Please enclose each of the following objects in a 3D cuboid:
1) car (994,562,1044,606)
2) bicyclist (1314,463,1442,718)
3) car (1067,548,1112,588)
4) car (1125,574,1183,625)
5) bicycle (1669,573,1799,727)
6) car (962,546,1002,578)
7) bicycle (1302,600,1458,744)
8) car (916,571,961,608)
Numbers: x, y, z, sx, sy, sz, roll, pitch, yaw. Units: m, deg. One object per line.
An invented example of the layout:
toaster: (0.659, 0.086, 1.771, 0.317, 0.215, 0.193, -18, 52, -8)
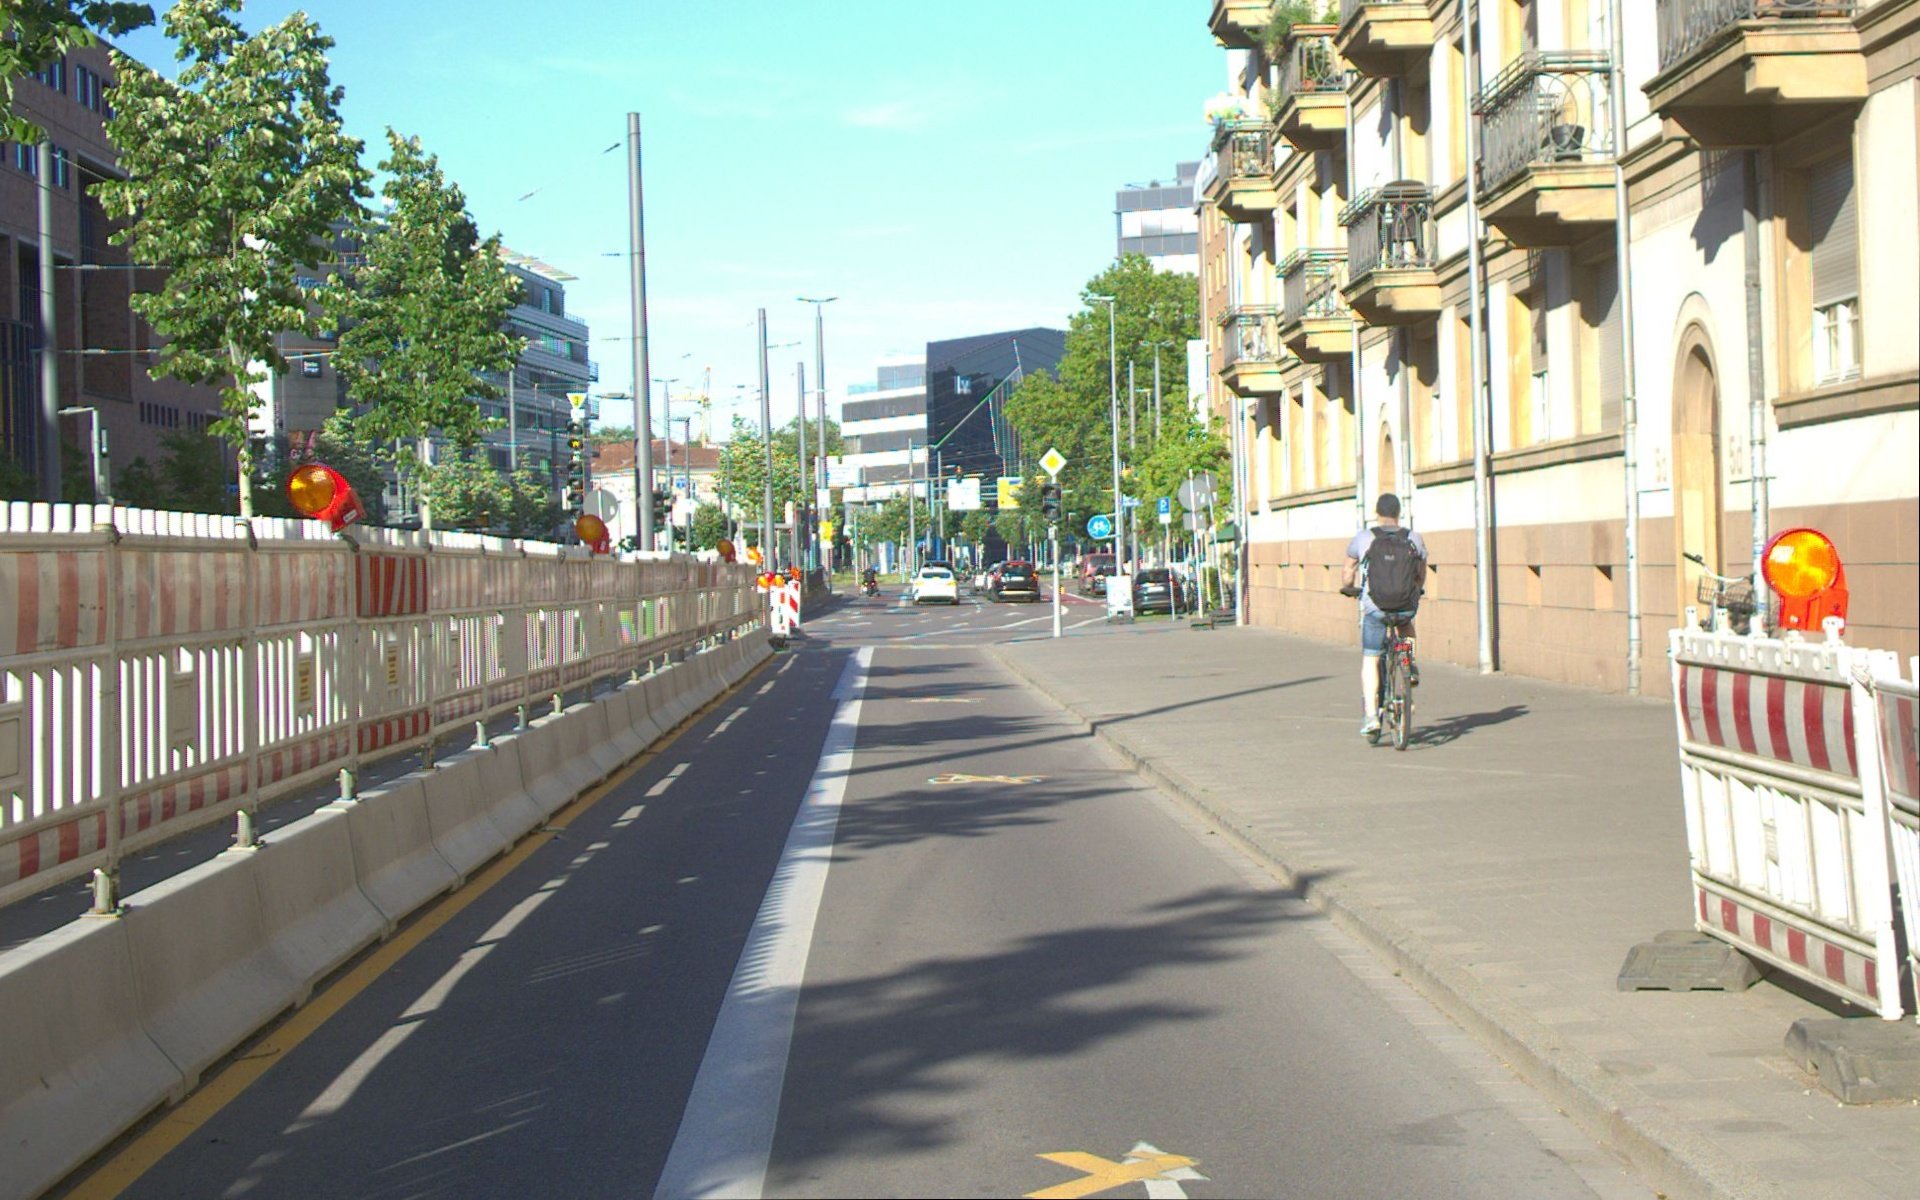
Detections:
car: (2.463, -0.684, 144.084, 1.975, 1.753, 4.632, 1, 0, 0)
bicyclist: (2.952, -0.069, 24.333, 0.733, 1.757, 0.938, -1, 0, -1)
car: (5.872, -1.481, 156.290, 1.846, 1.555, 4.633, 1, 3, 0)
car: (6.497, -0.031, 114.992, 1.721, 1.631, 4.230, -2, 0, 6)
bicycle: (5.747, 0.349, 25.612, 0.418, 1.092, 2.198, -1, 0, -1)
car: (1.076, -1.878, 168.778, 1.851, 1.492, 4.379, -2, 1, -1)
bicycle: (2.965, 0.489, 24.457, 0.767, 0.950, 2.198, -1, 0, -1)
car: (-0.884, -0.435, 138.412, 1.780, 1.409, 4.819, 1, 1, -1)
